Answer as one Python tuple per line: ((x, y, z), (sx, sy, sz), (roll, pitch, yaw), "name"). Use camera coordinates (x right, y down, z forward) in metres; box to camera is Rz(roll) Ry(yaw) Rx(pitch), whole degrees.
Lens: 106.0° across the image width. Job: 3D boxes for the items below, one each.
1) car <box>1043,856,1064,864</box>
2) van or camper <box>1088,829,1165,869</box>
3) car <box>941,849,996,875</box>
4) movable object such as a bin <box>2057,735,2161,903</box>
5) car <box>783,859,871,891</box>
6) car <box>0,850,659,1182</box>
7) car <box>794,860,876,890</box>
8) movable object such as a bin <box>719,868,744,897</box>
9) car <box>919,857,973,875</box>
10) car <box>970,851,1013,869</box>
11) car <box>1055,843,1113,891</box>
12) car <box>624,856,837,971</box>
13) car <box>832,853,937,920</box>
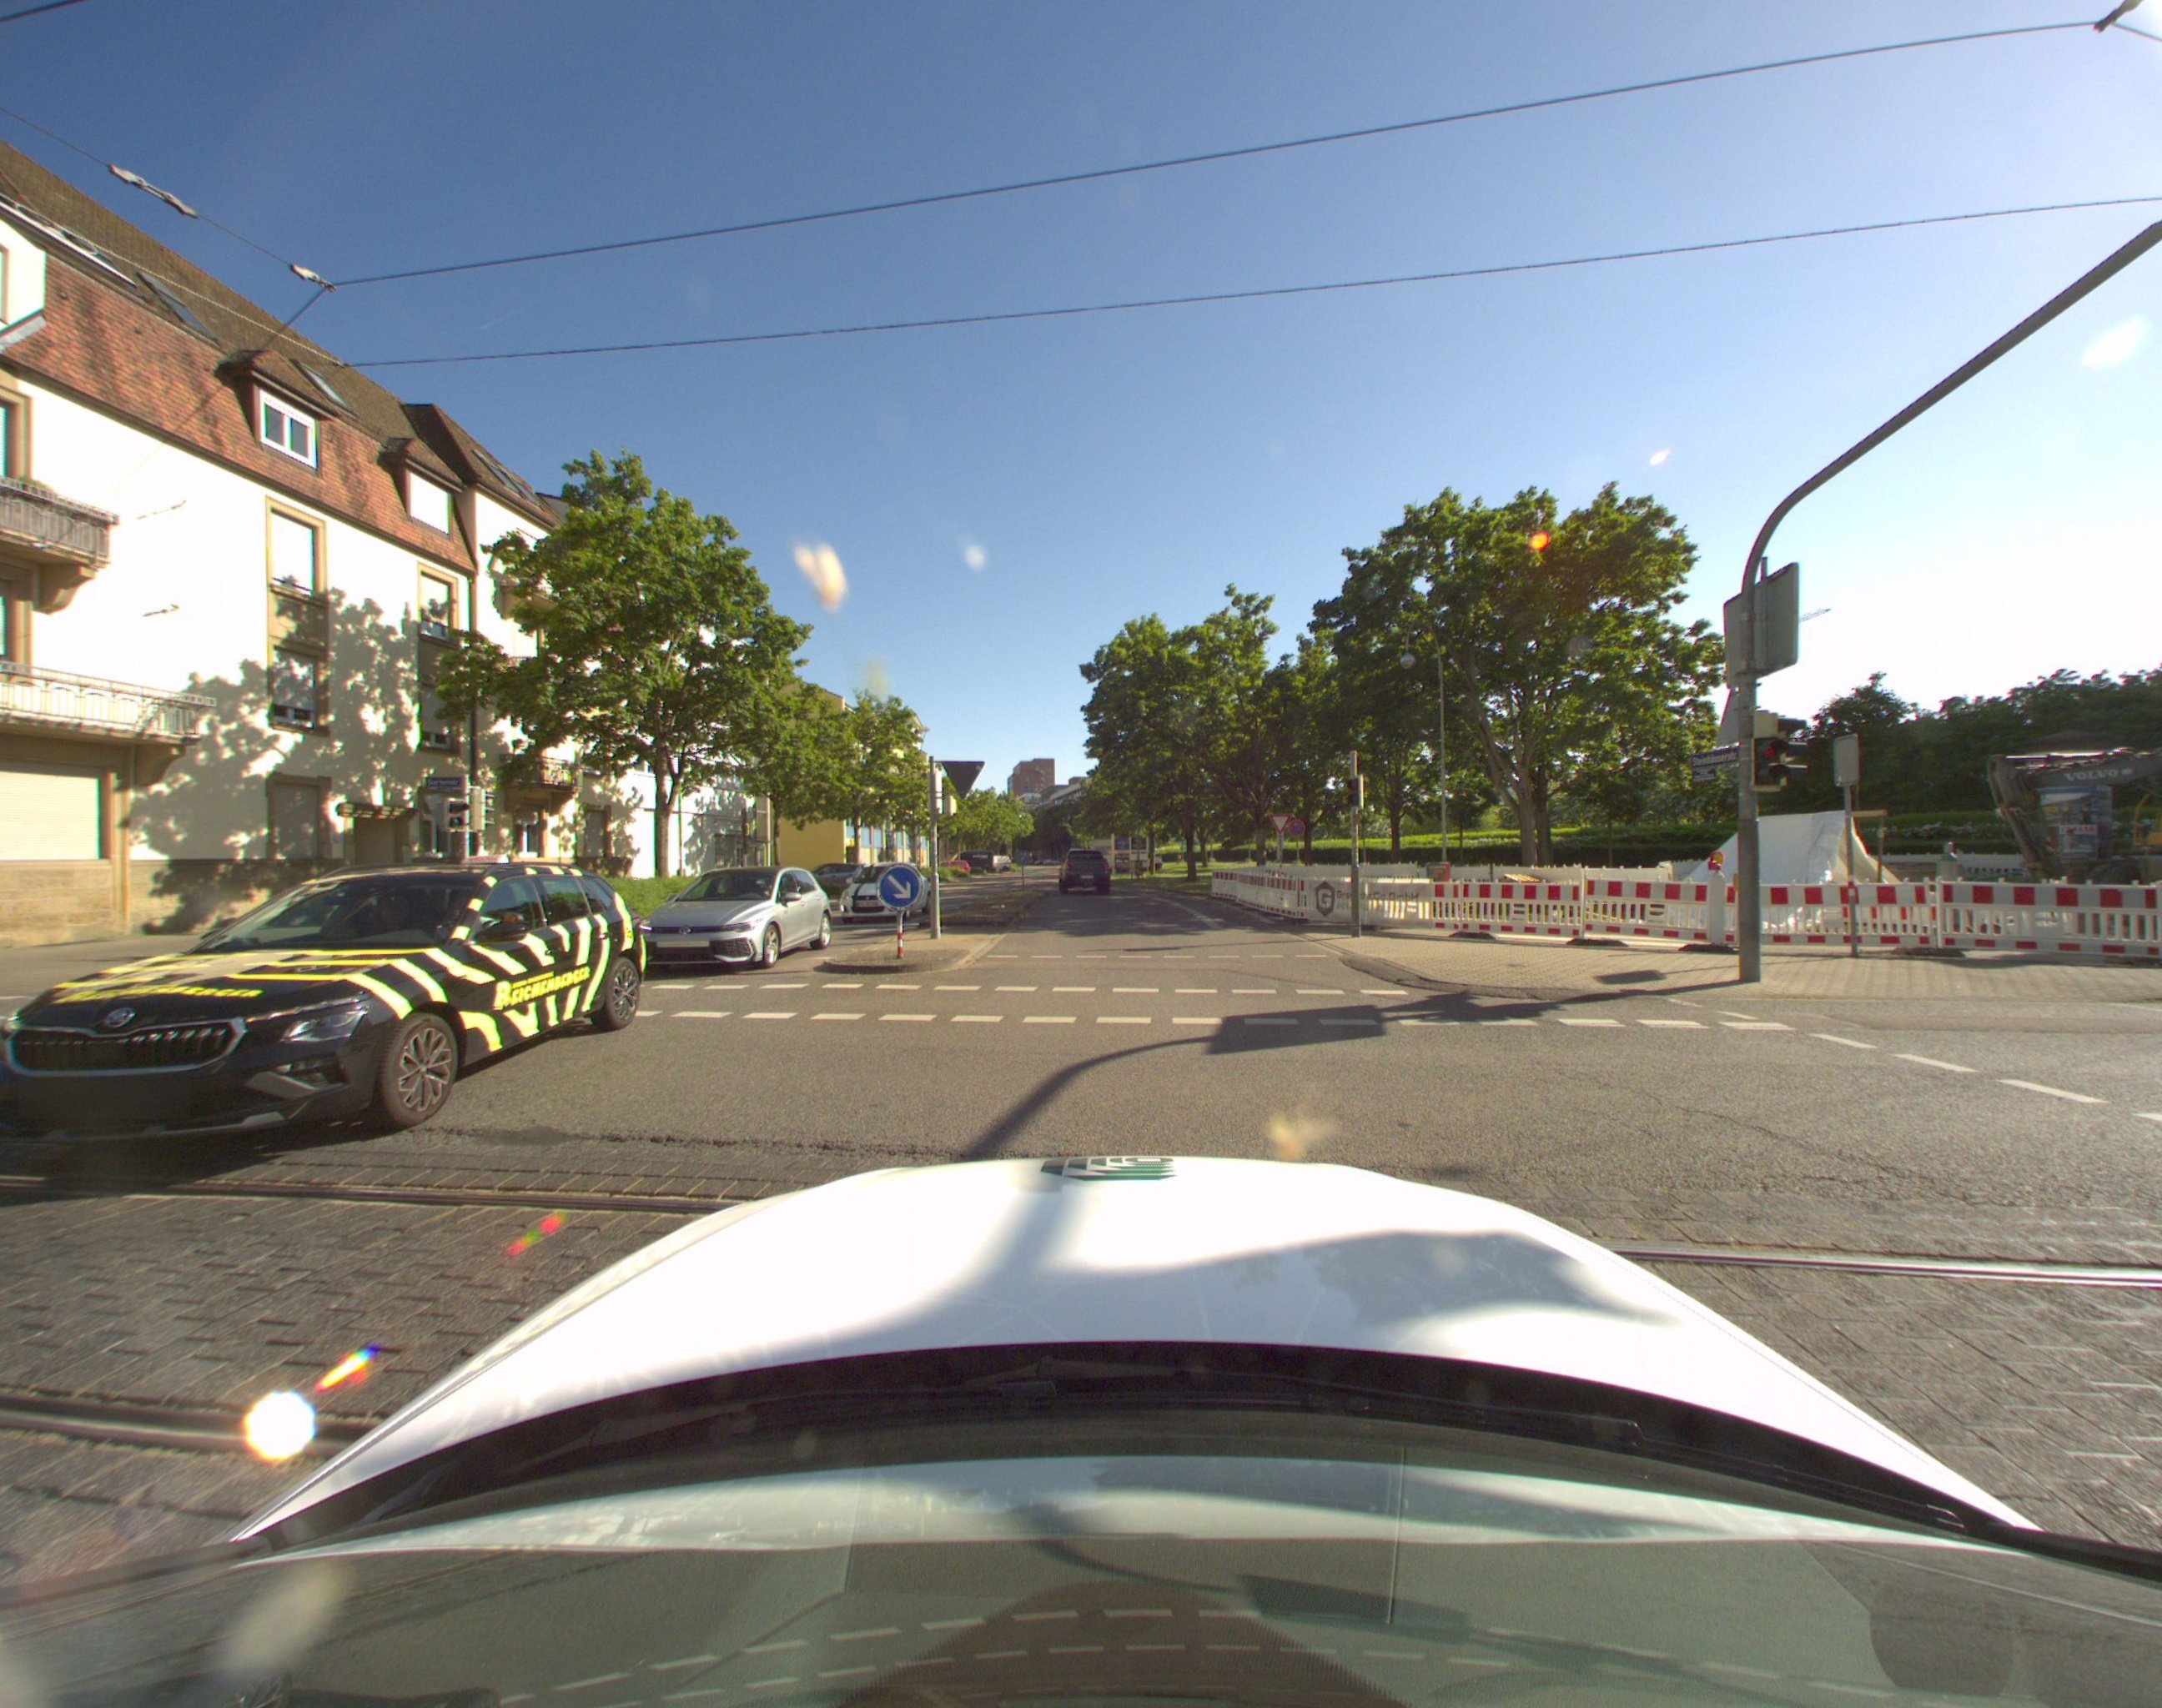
((-5.541, 1.267, 164.587), (3.946, 1.397, 1.512), (-3, 0, -9), "car")
((3.700, -0.385, 67.395), (6.061, 2.928, 2.574), (-3, 0, -1), "van or camper")
((-11.605, 0.809, 84.191), (5.287, 2.545, 1.969), (-1, 0, -25), "car")
((24.066, -0.702, 16.748), (4.682, 3.363, 2.834), (0, 0, -2), "movable object such as a bin")
((-12.766, 1.013, 41.000), (3.900, 1.510, 1.810), (0, -1, -32), "car")
((-4.817, 0.742, 5.859), (1.786, 1.513, 4.106), (-1, 0, -7), "car")
((-13.284, 1.094, 43.995), (3.899, 1.510, 1.810), (0, -1, -32), "car")
((-12.231, 0.990, 28.500), (0.511, 0.976, 0.640), (0, 0, 10), "movable object such as a bin")
((-12.178, 1.076, 73.526), (4.428, 1.552, 1.906), (-1, 0, -25), "car")
((-11.259, 0.744, 102.480), (4.920, 2.083, 1.964), (-1, 0, -35), "car")
((0.047, 0.493, 34.614), (2.129, 1.835, 4.933), (-1, 0, -4), "car")
((-5.218, 0.791, 12.724), (1.703, 1.452, 3.848), (-1, 0, -1), "car")
((-5.113, 0.788, 21.732), (1.698, 1.512, 3.864), (-3, 0, 2), "car")
